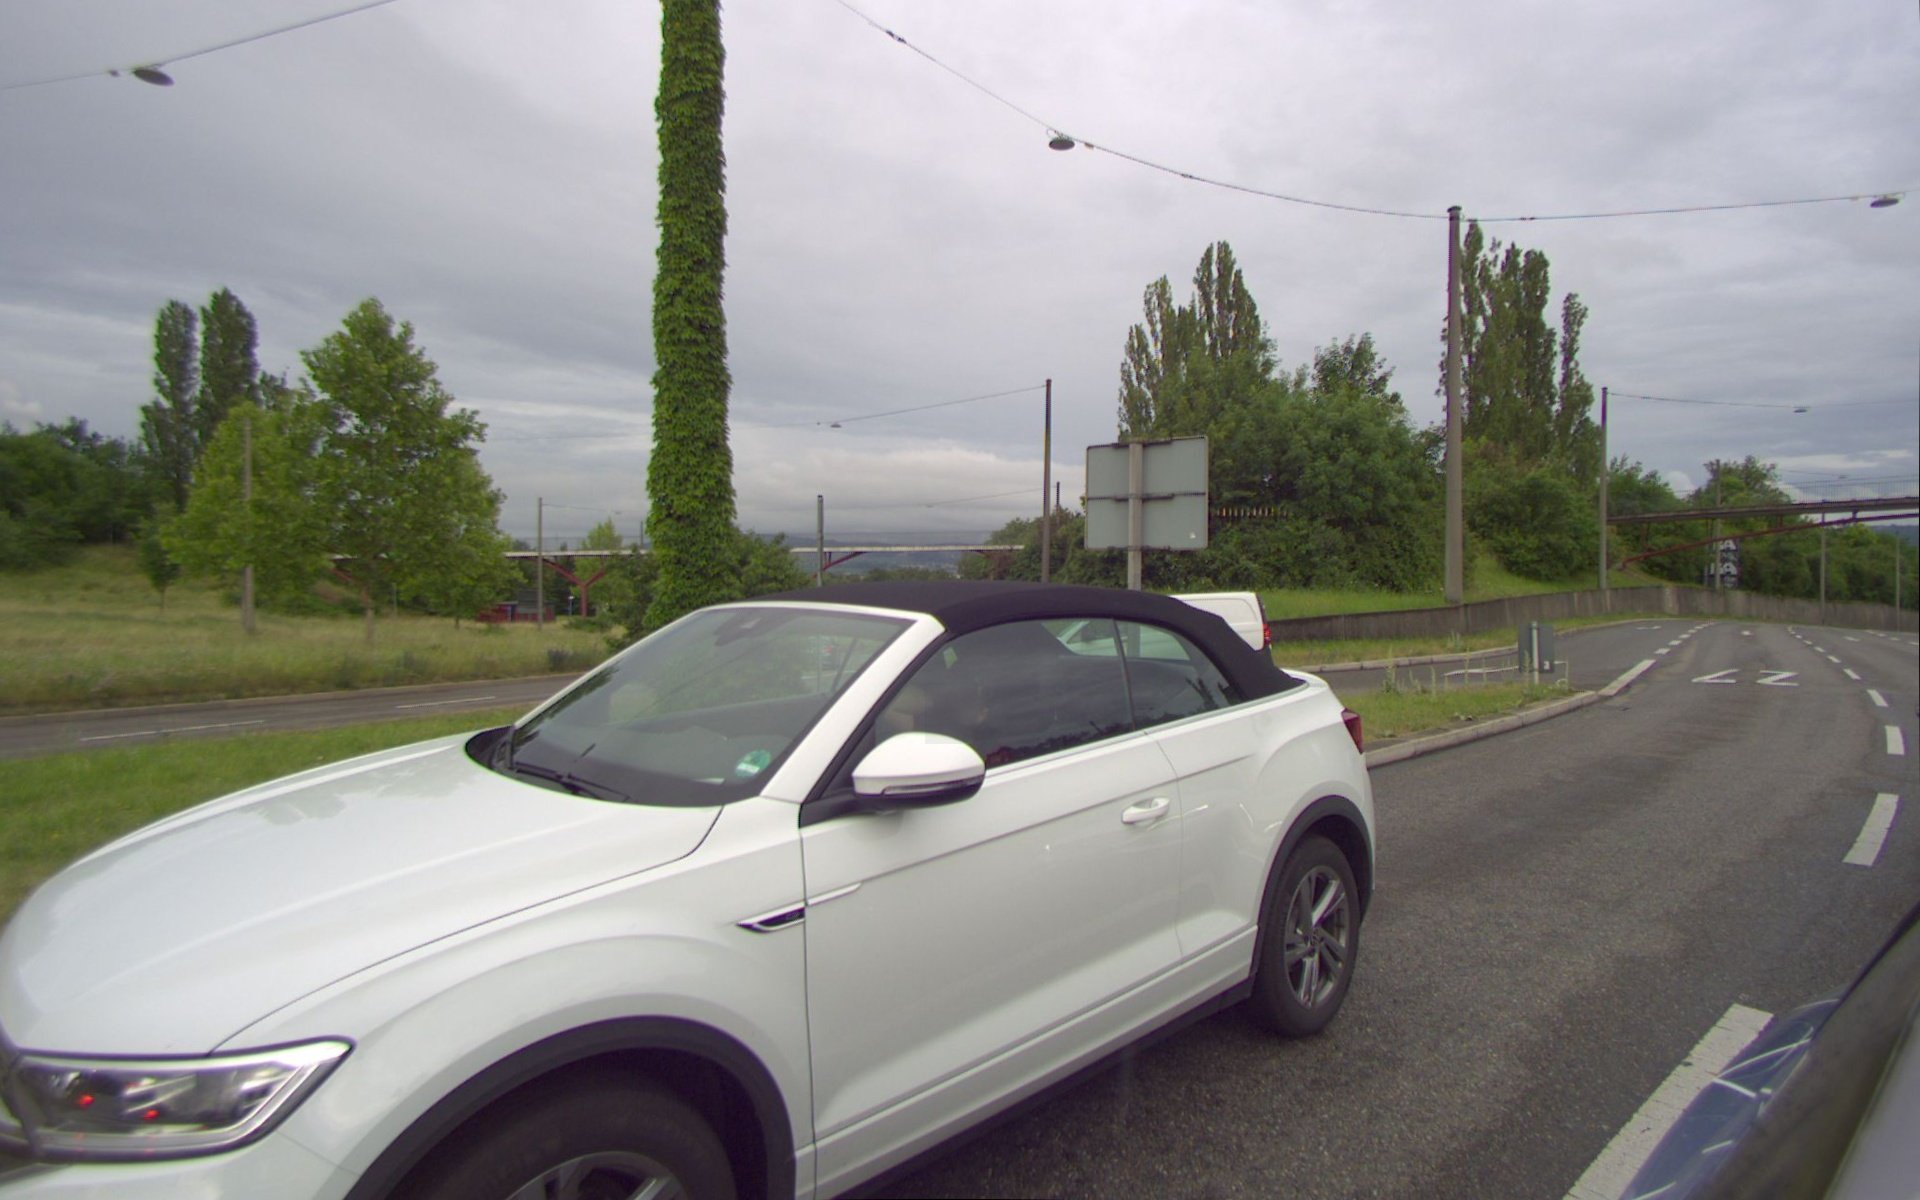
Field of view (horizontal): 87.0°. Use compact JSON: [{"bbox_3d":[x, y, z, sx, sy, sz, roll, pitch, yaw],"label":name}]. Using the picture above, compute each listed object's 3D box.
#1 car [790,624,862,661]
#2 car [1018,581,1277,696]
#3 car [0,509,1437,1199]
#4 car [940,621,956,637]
[{"bbox_3d":[-5.636,1.768,43.054,1.660,1.438,4.063,-2,-2,14],"label":"car"},{"bbox_3d":[3.589,0.770,20.213,4.737,1.872,1.997,-4,-2,4],"label":"car"},{"bbox_3d":[-0.229,0.651,3.086,4.160,1.572,1.714,-1,1,-44],"label":"car"},{"bbox_3d":[-1.325,3.115,108.557,1.668,1.494,4.294,-1,1,-1],"label":"car"}]
